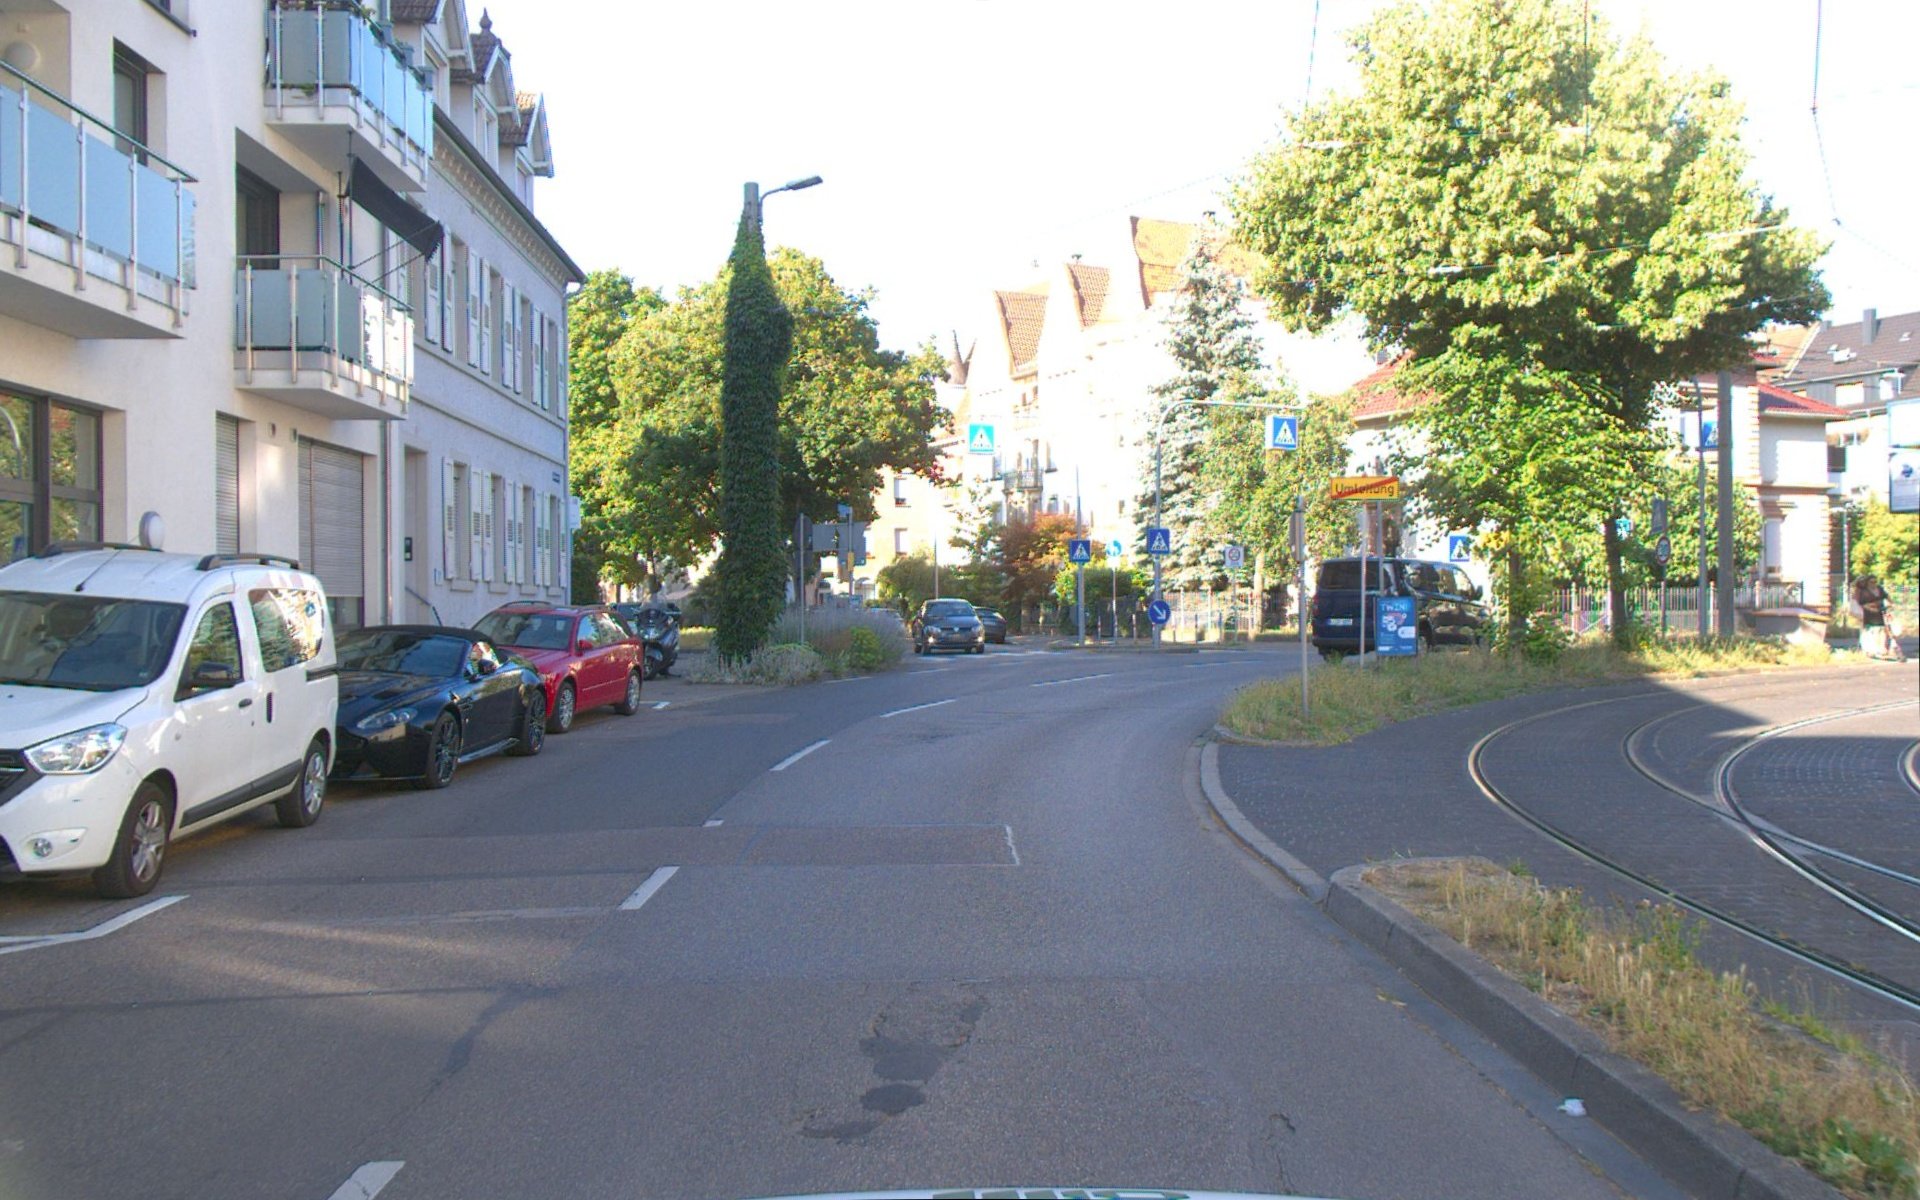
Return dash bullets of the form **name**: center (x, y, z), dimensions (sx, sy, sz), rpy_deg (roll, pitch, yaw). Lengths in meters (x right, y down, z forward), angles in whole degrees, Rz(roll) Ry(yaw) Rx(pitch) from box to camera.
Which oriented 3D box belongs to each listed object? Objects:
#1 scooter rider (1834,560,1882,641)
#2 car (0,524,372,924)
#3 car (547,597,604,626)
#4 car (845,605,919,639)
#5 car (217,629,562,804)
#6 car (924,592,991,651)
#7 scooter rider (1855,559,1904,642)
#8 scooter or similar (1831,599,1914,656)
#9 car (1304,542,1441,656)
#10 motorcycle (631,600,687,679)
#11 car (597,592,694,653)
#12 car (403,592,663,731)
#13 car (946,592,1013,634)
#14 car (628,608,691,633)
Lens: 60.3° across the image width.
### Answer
- **scooter rider**: center (19.040, 0.007, 35.080), dimensions (0.644, 1.702, 0.603), rpy_deg (-1, 0, -23)
- **car**: center (-5.128, 0.590, 10.040), dimensions (1.775, 1.902, 4.329), rpy_deg (2, 0, -4)
- **car**: center (-27.763, 0.819, 119.374), dimensions (2.321, 2.076, 4.867), rpy_deg (1, 0, -35)
- **car**: center (-3.937, 1.076, 82.794), dimensions (2.307, 1.624, 4.898), rpy_deg (0, 0, -21)
- **car**: center (-4.975, 0.950, 15.034), dimensions (1.630, 1.296, 4.026), rpy_deg (1, 0, 1)
- **car**: center (-0.092, 0.543, 44.808), dimensions (1.678, 1.427, 3.738), rpy_deg (-3, 1, -1)
- **scooter rider**: center (19.250, 0.010, 34.633), dimensions (0.644, 1.702, 0.603), rpy_deg (-1, 0, -23)
- **scooter or similar**: center (19.206, 0.568, 34.833), dimensions (0.674, 1.156, 1.396), rpy_deg (-1, 1, -24)
- **car**: center (8.058, -0.042, 32.062), dimensions (1.953, 2.049, 3.999), rpy_deg (0, 1, 24)
- **motorcycle**: center (-5.527, 0.695, 30.257), dimensions (0.914, 1.381, 2.556), rpy_deg (0, 0, -12)
- **car**: center (-8.559, 0.587, 44.838), dimensions (1.784, 1.563, 3.881), rpy_deg (0, 0, -24)
- **car**: center (-5.246, 0.681, 20.988), dimensions (1.673, 1.492, 4.595), rpy_deg (1, 1, 6)
- **car**: center (0.759, 0.527, 67.415), dimensions (1.958, 1.624, 3.989), rpy_deg (0, 0, -11)
- **car**: center (-19.981, 1.334, 109.775), dimensions (2.321, 1.624, 4.867), rpy_deg (1, 0, -35)
